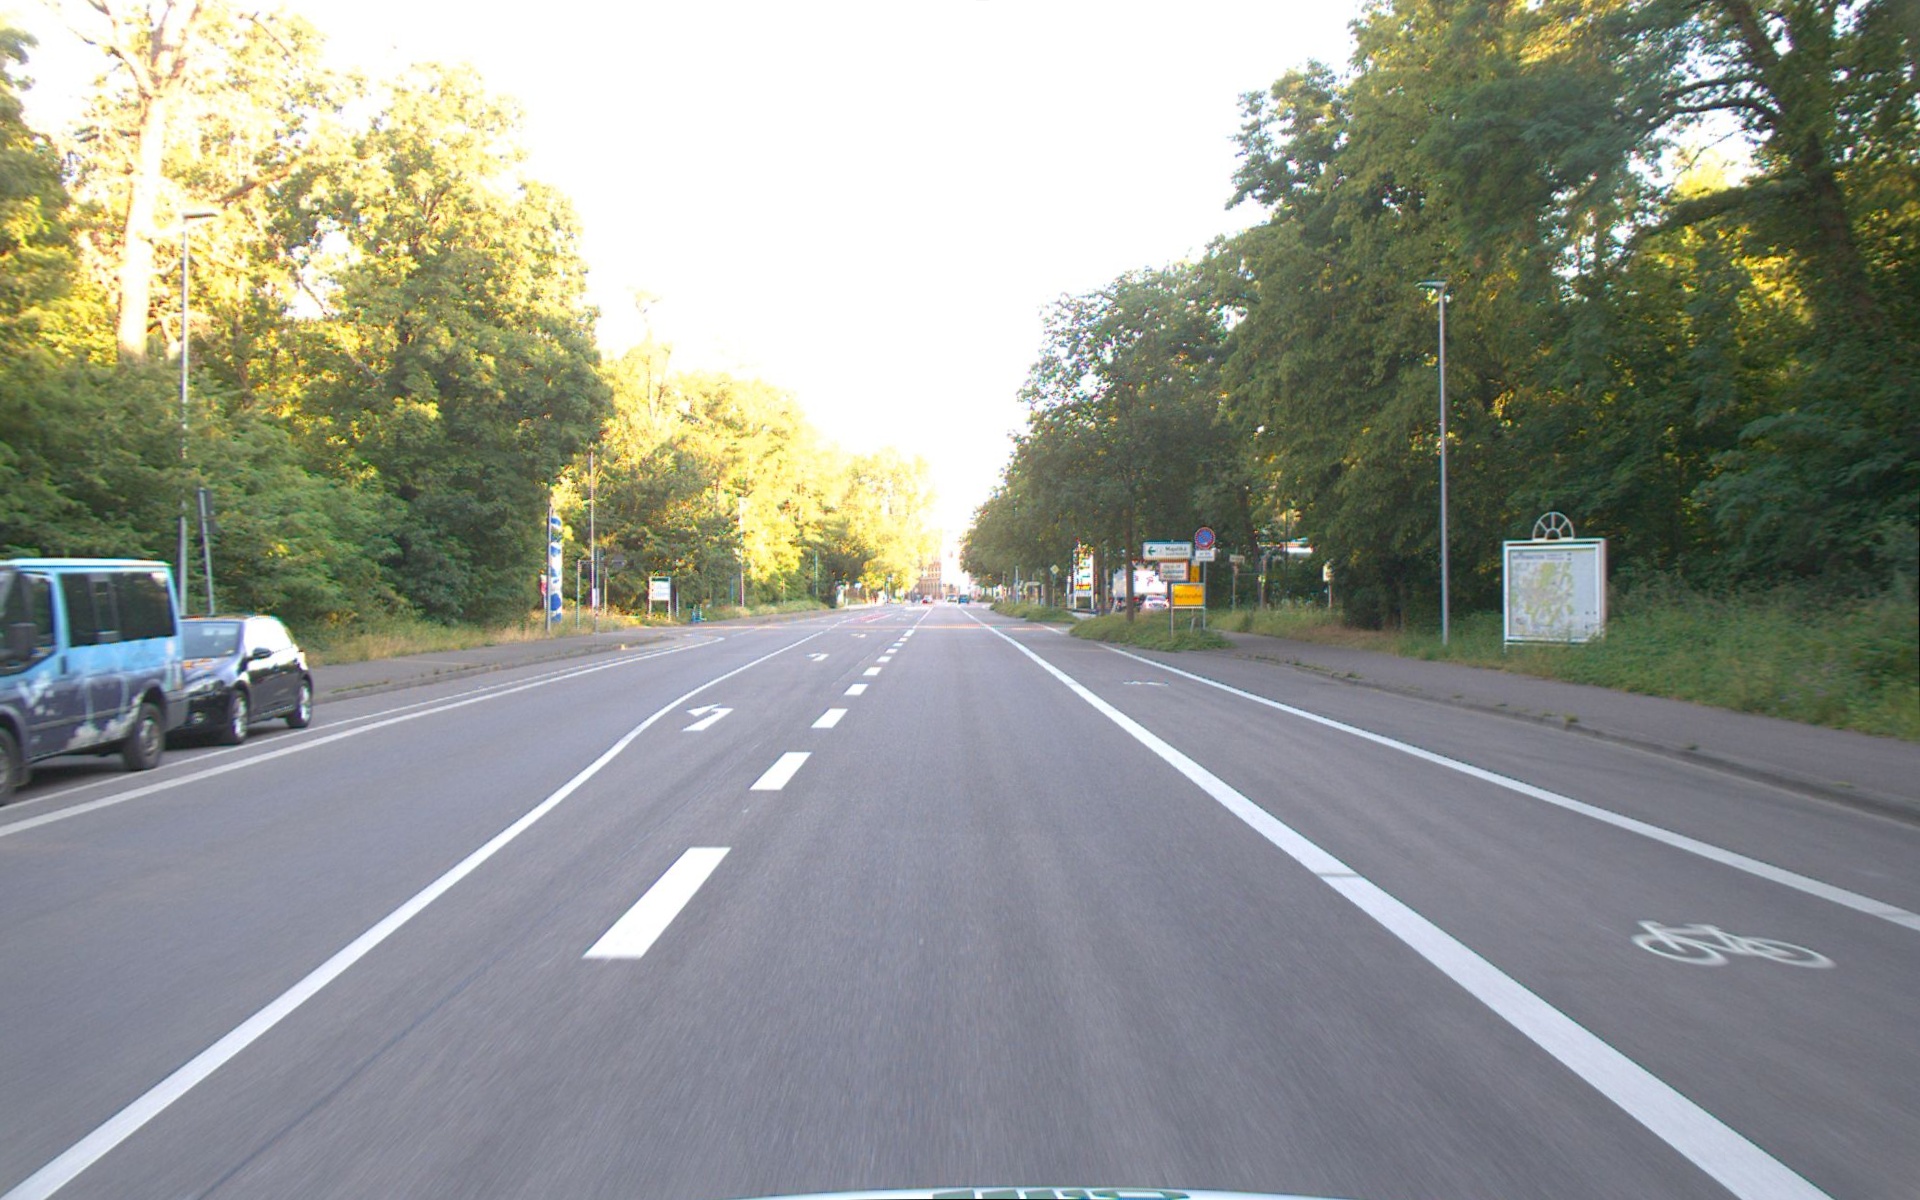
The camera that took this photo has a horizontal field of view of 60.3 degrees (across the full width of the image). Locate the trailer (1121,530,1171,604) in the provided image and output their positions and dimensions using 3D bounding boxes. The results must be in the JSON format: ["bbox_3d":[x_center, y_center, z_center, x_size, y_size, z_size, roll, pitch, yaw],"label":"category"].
[{"bbox_3d":[14.377,-2.479,128.442,2.958,5.557,7.934,0,0,0],"label":"trailer"}]

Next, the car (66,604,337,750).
[{"bbox_3d":[-9.007,0.837,20.023,1.654,1.487,4.238,-2,0,-6],"label":"car"}]

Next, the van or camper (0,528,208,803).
[{"bbox_3d":[-8.578,0.533,14.422,1.992,2.130,5.010,-2,0,-4],"label":"van or camper"}]

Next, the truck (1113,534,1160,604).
[{"bbox_3d":[14.391,-2.554,135.373,2.971,5.550,8.410,0,1,0],"label":"truck"}]

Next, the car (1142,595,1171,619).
[{"bbox_3d":[13.751,0.510,115.931,1.733,1.611,4.821,1,0,3],"label":"car"}]

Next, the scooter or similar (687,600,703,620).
[{"bbox_3d":[-14.982,0.577,93.648,0.355,1.129,0.874,-1,0,41],"label":"scooter or similar"}]

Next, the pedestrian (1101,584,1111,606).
[{"bbox_3d":[12.223,-0.397,138.415,0.741,1.829,0.707,1,0,3],"label":"pedestrian"}]
